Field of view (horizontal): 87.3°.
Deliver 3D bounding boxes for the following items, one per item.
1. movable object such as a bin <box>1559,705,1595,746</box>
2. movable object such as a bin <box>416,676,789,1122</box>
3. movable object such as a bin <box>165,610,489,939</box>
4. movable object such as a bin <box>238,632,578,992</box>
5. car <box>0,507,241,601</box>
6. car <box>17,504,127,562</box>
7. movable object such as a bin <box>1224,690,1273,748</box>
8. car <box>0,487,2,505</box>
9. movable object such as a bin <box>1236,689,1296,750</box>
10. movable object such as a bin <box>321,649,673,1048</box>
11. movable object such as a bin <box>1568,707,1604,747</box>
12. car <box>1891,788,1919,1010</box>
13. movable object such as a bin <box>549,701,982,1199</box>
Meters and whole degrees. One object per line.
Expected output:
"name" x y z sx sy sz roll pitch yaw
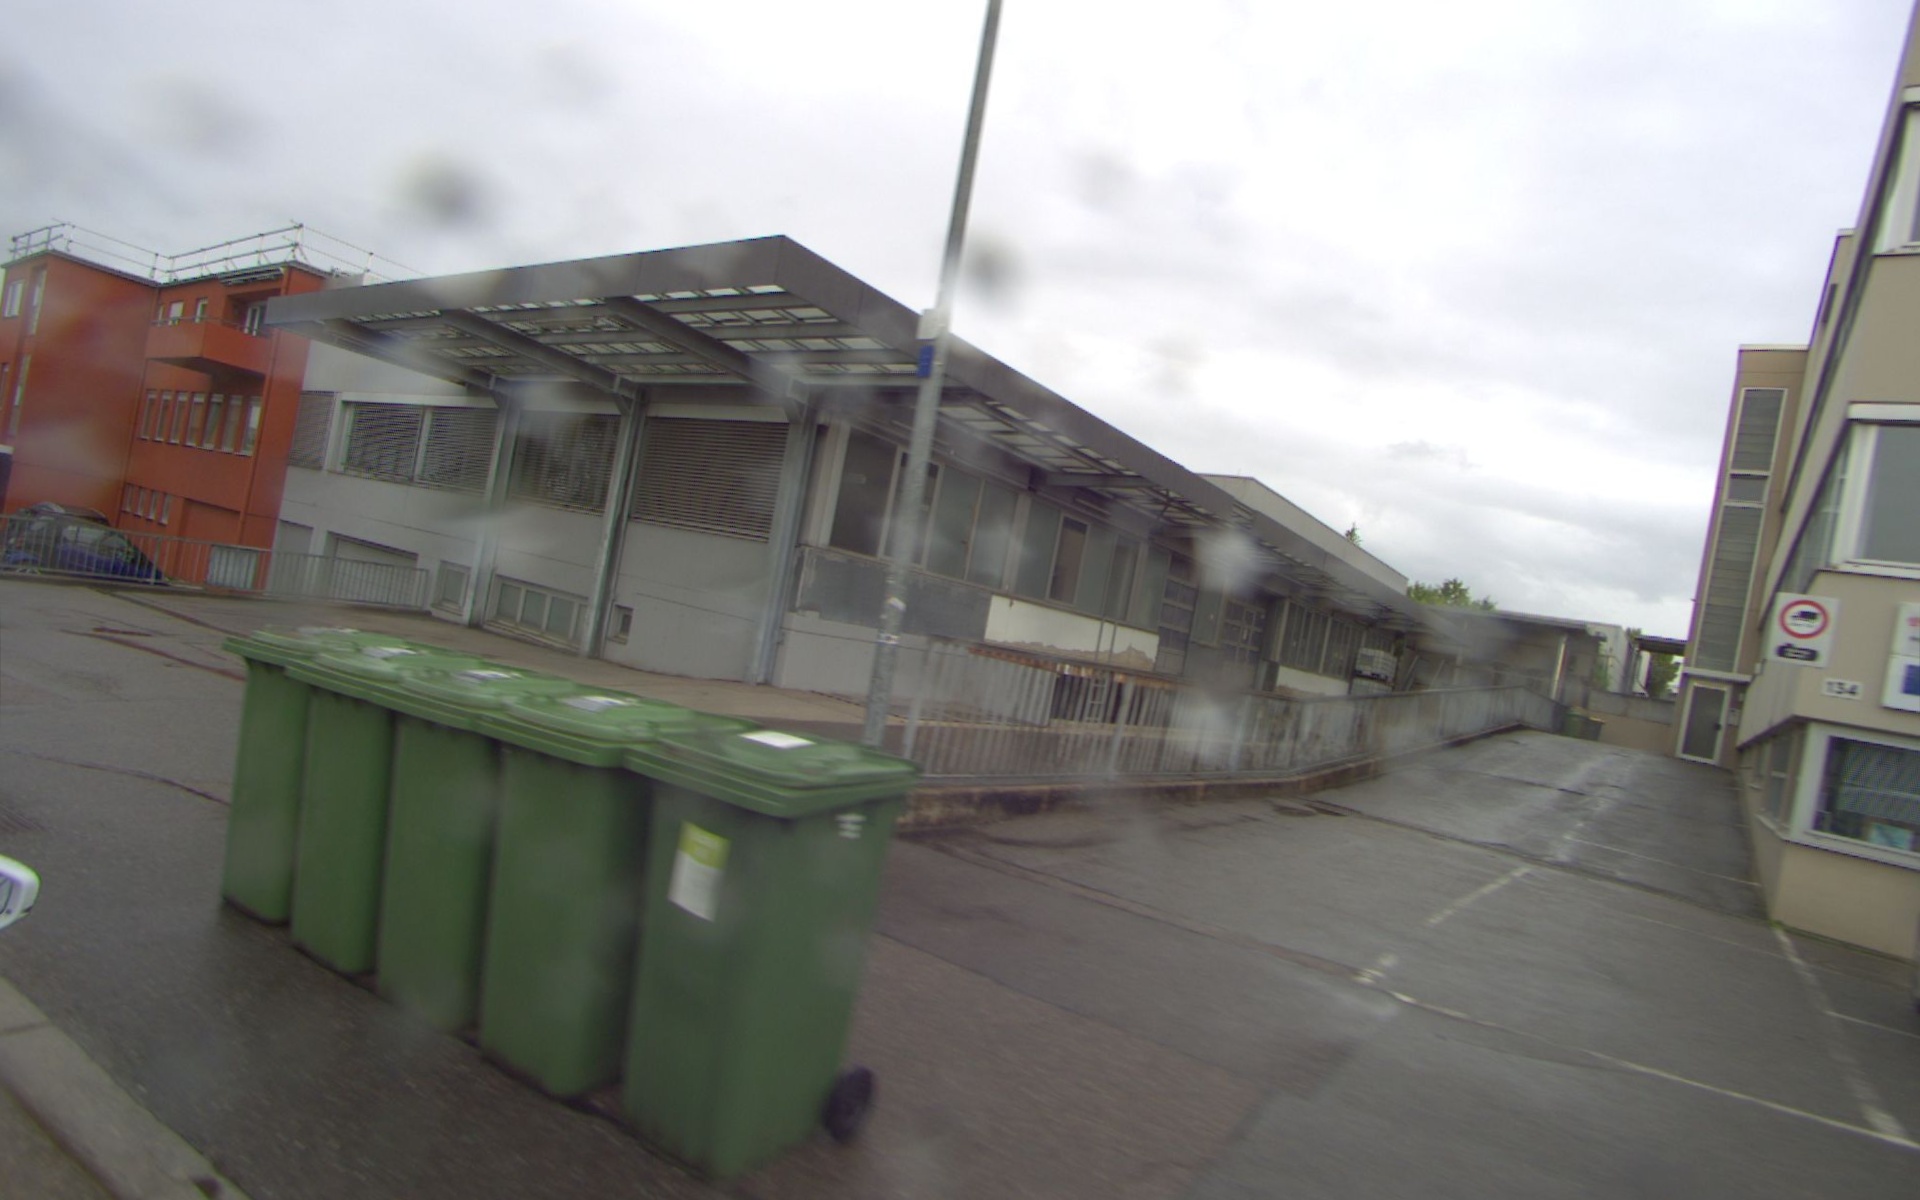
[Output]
"movable object such as a bin" 23.271 4.735 37.929 0.924 1.410 1.323 6 -2 37
"movable object such as a bin" -1.069 0.827 3.104 0.574 1.088 0.776 7 -1 32
"movable object such as a bin" -2.504 0.652 4.025 0.614 1.092 0.803 7 -1 32
"movable object such as a bin" -2.003 0.721 3.710 0.572 1.089 0.810 7 -1 32
"car" -16.017 -0.850 19.126 1.765 1.176 3.402 7 -3 38
"car" -28.220 -2.146 31.942 3.939 1.438 1.730 5 -3 37
"movable object such as a bin" 7.029 2.909 24.504 0.673 1.278 0.995 7 -2 39
"car" -30.417 -2.744 30.141 3.939 1.672 1.740 5 -3 37
"movable object such as a bin" 7.672 2.994 25.233 1.019 1.337 0.873 7 -2 41
"movable object such as a bin" -1.537 0.771 3.417 0.532 1.103 0.810 7 -1 32
"movable object such as a bin" 24.683 5.000 39.640 0.977 1.410 1.323 6 -2 37
"car" 6.360 1.834 5.116 1.793 1.398 3.902 6 -5 36
"movable object such as a bin" -0.506 0.890 2.798 0.697 1.105 0.808 7 -1 32
